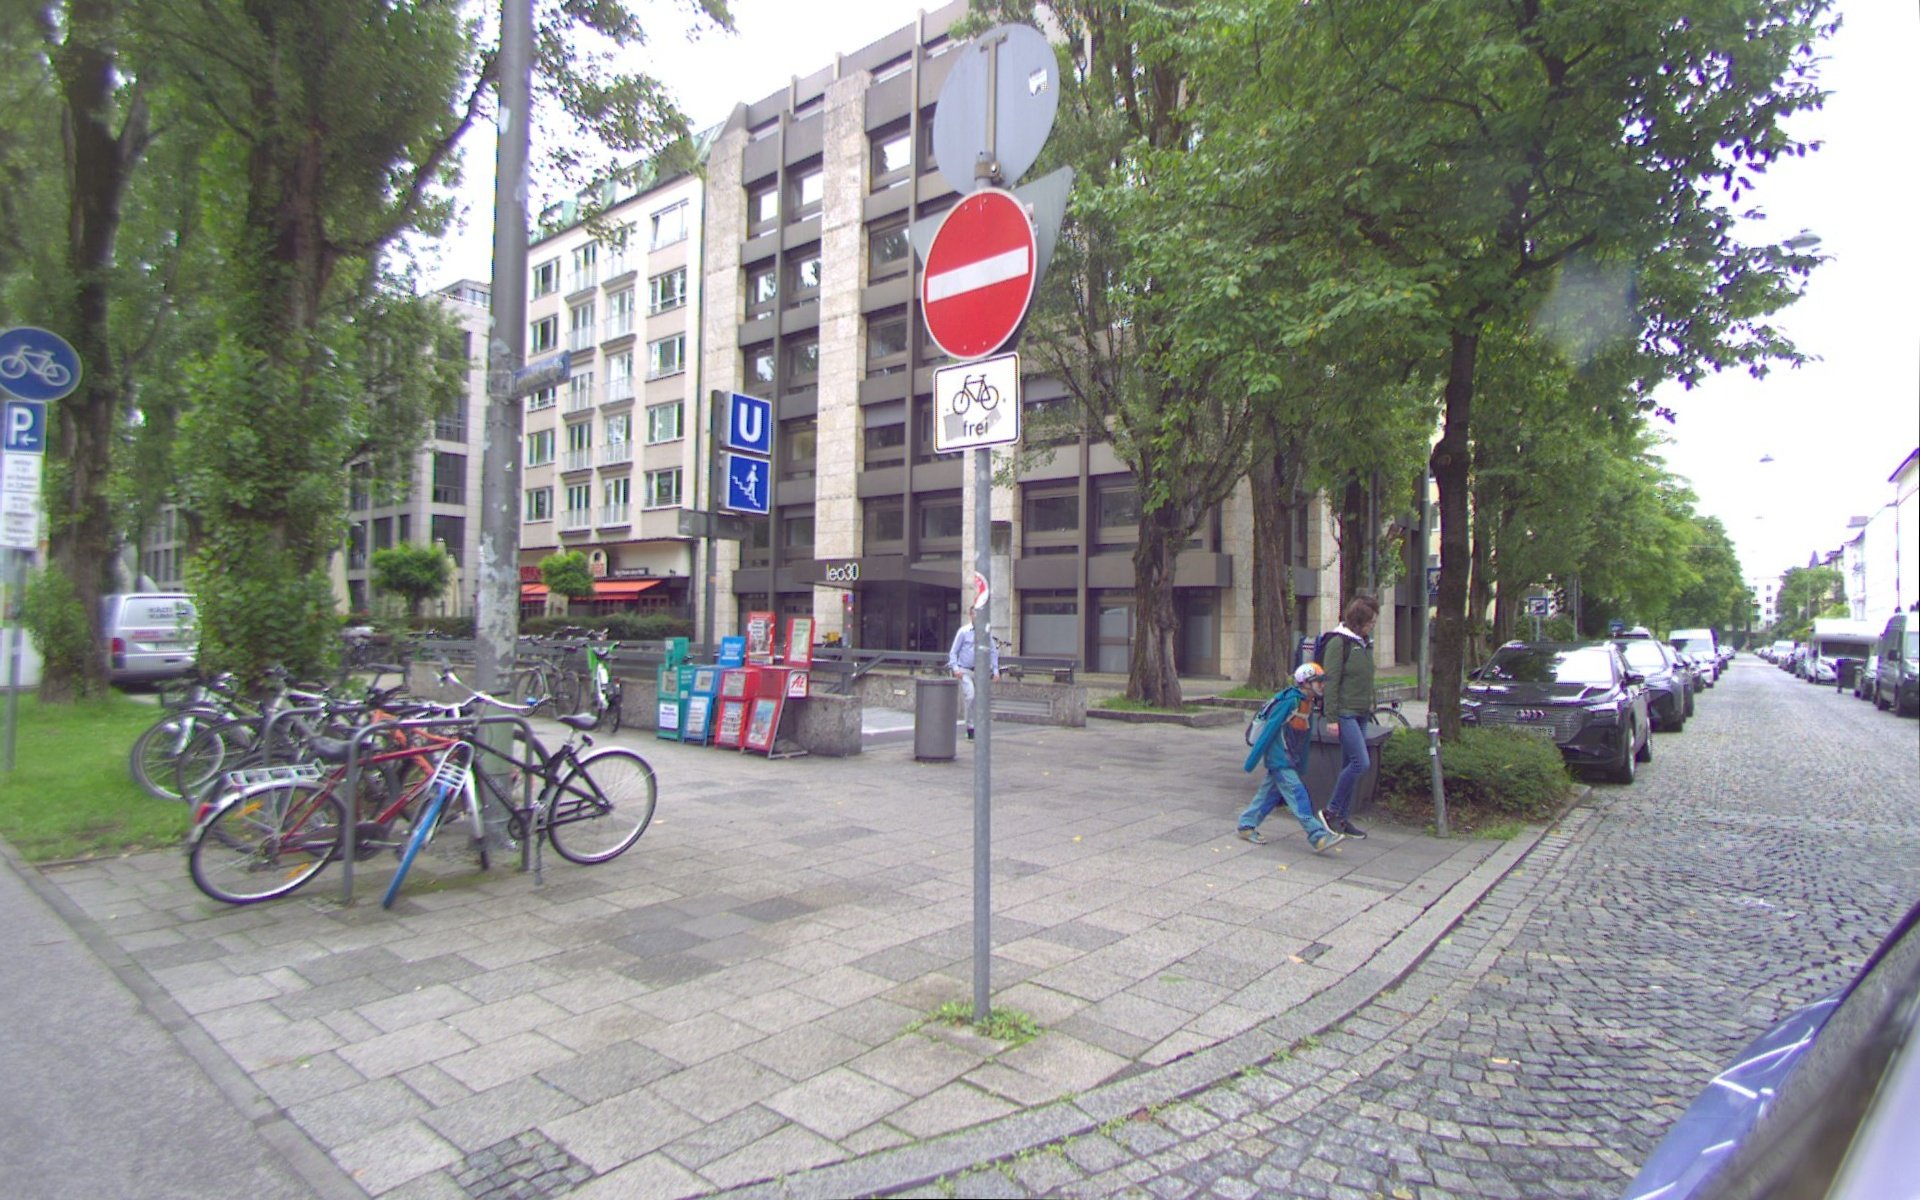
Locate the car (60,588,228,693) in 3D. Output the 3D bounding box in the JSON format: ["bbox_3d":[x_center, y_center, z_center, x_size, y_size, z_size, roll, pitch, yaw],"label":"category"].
[{"bbox_3d":[-16.996,0.788,20.978,5.180,1.921,1.787,0,-2,41],"label":"car"}]

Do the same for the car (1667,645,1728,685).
[{"bbox_3d":[29.592,2.566,40.671,1.857,1.518,3.822,-2,-3,36],"label":"car"}]

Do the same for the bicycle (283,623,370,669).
[{"bbox_3d":[-16.820,1.221,26.912,0.585,1.175,1.841,0,-2,41],"label":"bicycle"}]

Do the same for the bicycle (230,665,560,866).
[{"bbox_3d":[-3.641,1.005,6.684,0.474,1.064,1.848,-1,-1,41],"label":"bicycle"}]

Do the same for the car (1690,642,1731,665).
[{"bbox_3d":[48.051,3.386,64.873,1.987,1.406,3.822,-2,-3,36],"label":"car"}]

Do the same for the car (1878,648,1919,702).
[{"bbox_3d":[28.314,2.184,29.654,1.991,1.449,3.940,0,-2,41],"label":"car"}]

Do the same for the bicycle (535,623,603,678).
[{"bbox_3d":[-8.634,1.092,22.300,1.861,1.175,0.579,-1,-3,41],"label":"bicycle"}]

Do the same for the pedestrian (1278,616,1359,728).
[{"bbox_3d":[5.790,1.143,16.359,0.894,1.736,0.869,2,-2,-32],"label":"pedestrian"}]

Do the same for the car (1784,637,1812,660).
[{"bbox_3d":[94.517,5.427,114.199,2.077,2.464,5.534,-1,-2,37],"label":"car"}]

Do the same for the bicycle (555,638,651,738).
[{"bbox_3d":[-4.636,1.091,13.081,0.577,1.175,1.867,2,-2,-38],"label":"bicycle"}]

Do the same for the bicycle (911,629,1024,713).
[{"bbox_3d":[0.110,1.135,16.746,1.861,1.293,0.711,-1,-3,41],"label":"bicycle"}]

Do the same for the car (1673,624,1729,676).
[{"bbox_3d":[37.169,2.493,50.745,2.076,2.464,5.535,-2,-3,37],"label":"car"}]

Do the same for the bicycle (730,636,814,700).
[{"bbox_3d":[-3.705,1.311,19.863,1.861,1.175,0.579,-1,-3,41],"label":"bicycle"}]

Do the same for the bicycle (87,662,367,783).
[{"bbox_3d":[-5.951,0.955,8.309,0.470,0.828,1.804,-1,-2,44],"label":"bicycle"}]

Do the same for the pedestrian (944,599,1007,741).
[{"bbox_3d":[0.211,0.870,12.903,0.701,1.747,0.668,0,-2,9],"label":"pedestrian"}]

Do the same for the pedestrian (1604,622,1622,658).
[{"bbox_3d":[29.005,1.776,44.949,0.642,1.557,0.700,-1,-2,36],"label":"pedestrian"}]

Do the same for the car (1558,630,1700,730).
[{"bbox_3d":[13.185,1.461,19.825,2.008,1.722,4.609,-1,-3,37],"label":"car"}]

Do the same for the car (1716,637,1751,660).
[{"bbox_3d":[60.933,3.810,79.782,1.987,1.712,3.822,-2,-3,36],"label":"car"}]

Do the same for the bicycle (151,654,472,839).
[{"bbox_3d":[-4.653,0.986,7.403,0.511,1.119,1.903,-1,-2,39],"label":"bicycle"}]

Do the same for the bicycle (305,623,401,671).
[{"bbox_3d":[-15.466,1.200,25.844,0.585,1.175,2.001,-1,-2,41],"label":"bicycle"}]

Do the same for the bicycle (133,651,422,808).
[{"bbox_3d":[-5.308,0.957,7.973,0.512,1.052,1.804,-1,-2,44],"label":"bicycle"}]

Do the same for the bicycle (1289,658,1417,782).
[{"bbox_3d":[4.103,1.192,10.502,1.844,1.151,0.475,2,-3,-42],"label":"bicycle"}]

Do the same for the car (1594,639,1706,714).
[{"bbox_3d":[16.613,1.742,24.275,1.988,1.603,4.282,-1,-3,37],"label":"car"}]

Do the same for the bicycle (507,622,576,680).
[{"bbox_3d":[-9.032,1.077,21.819,1.861,1.175,0.579,-1,-3,41],"label":"bicycle"}]

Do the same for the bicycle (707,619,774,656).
[{"bbox_3d":[-7.099,1.222,32.834,0.644,1.170,2.213,-1,-2,39],"label":"bicycle"}]

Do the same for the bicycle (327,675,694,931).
[{"bbox_3d":[-2.337,0.992,5.526,0.472,1.064,1.853,-1,-2,34],"label":"bicycle"}]

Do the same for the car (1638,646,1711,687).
[{"bbox_3d":[26.093,2.378,36.924,1.989,1.406,3.819,-2,-3,38],"label":"car"}]

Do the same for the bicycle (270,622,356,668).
[{"bbox_3d":[-17.397,1.205,27.251,0.585,1.175,1.841,-1,-3,41],"label":"bicycle"}]

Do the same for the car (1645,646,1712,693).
[{"bbox_3d":[23.673,2.248,33.287,1.597,1.449,3.512,-3,-4,38],"label":"car"}]

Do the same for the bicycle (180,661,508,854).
[{"bbox_3d":[-4.109,0.989,6.893,0.474,1.064,1.848,-1,-1,41],"label":"bicycle"}]

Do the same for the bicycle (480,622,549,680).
[{"bbox_3d":[-9.413,1.058,21.338,1.861,1.175,0.579,-1,-3,41],"label":"bicycle"}]

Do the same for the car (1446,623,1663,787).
[{"bbox_3d":[7.699,1.181,12.918,1.915,1.722,4.144,-1,-3,37],"label":"car"}]

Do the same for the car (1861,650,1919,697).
[{"bbox_3d":[31.138,2.381,33.253,1.989,1.406,3.944,0,-2,38],"label":"car"}]

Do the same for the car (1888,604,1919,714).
[{"bbox_3d":[24.604,1.450,25.040,2.056,2.523,5.764,1,-1,39],"label":"car"}]

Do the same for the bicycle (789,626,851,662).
[{"bbox_3d":[-4.685,1.480,34.062,0.644,1.170,2.213,-1,-2,39],"label":"bicycle"}]

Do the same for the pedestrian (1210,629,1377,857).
[{"bbox_3d":[2.298,0.929,6.991,0.803,1.438,0.770,2,-2,-35],"label":"pedestrian"}]

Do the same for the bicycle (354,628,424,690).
[{"bbox_3d":[-11.481,1.154,20.315,1.976,1.175,0.579,-1,-2,41],"label":"bicycle"}]

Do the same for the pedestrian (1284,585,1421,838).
[{"bbox_3d":[2.856,0.773,7.379,0.651,1.723,0.690,2,-2,-35],"label":"pedestrian"}]

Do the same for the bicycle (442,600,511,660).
[{"bbox_3d":[-9.983,0.613,20.860,1.861,1.175,0.579,-1,-3,41],"label":"bicycle"}]

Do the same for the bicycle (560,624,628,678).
[{"bbox_3d":[-8.251,1.129,22.778,1.861,1.175,0.579,-1,-3,41],"label":"bicycle"}]

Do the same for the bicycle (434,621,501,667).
[{"bbox_3d":[-13.224,1.174,27.186,1.850,1.175,0.582,0,-2,26],"label":"bicycle"}]

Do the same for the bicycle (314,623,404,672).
[{"bbox_3d":[-15.013,1.187,25.323,0.585,1.175,1.841,-1,-3,41],"label":"bicycle"}]

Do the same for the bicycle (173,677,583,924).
[{"bbox_3d":[-3.044,0.981,5.493,0.474,1.064,1.848,-1,-3,41],"label":"bicycle"}]

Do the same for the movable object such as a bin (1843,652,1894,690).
[{"bbox_3d":[33.959,2.640,37.855,1.247,1.315,1.159,0,-2,35],"label":"movable object such as a bin"}]

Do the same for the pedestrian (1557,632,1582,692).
[{"bbox_3d":[17.107,1.719,28.402,0.488,1.649,0.559,-1,-3,42],"label":"pedestrian"}]

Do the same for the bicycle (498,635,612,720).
[{"bbox_3d":[-6.049,1.123,15.092,1.854,1.175,0.581,0,-2,32],"label":"bicycle"}]

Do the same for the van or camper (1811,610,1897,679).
[{"bbox_3d":[42.742,2.097,48.557,2.451,3.087,7.217,-1,-2,37],"label":"van or camper"}]
